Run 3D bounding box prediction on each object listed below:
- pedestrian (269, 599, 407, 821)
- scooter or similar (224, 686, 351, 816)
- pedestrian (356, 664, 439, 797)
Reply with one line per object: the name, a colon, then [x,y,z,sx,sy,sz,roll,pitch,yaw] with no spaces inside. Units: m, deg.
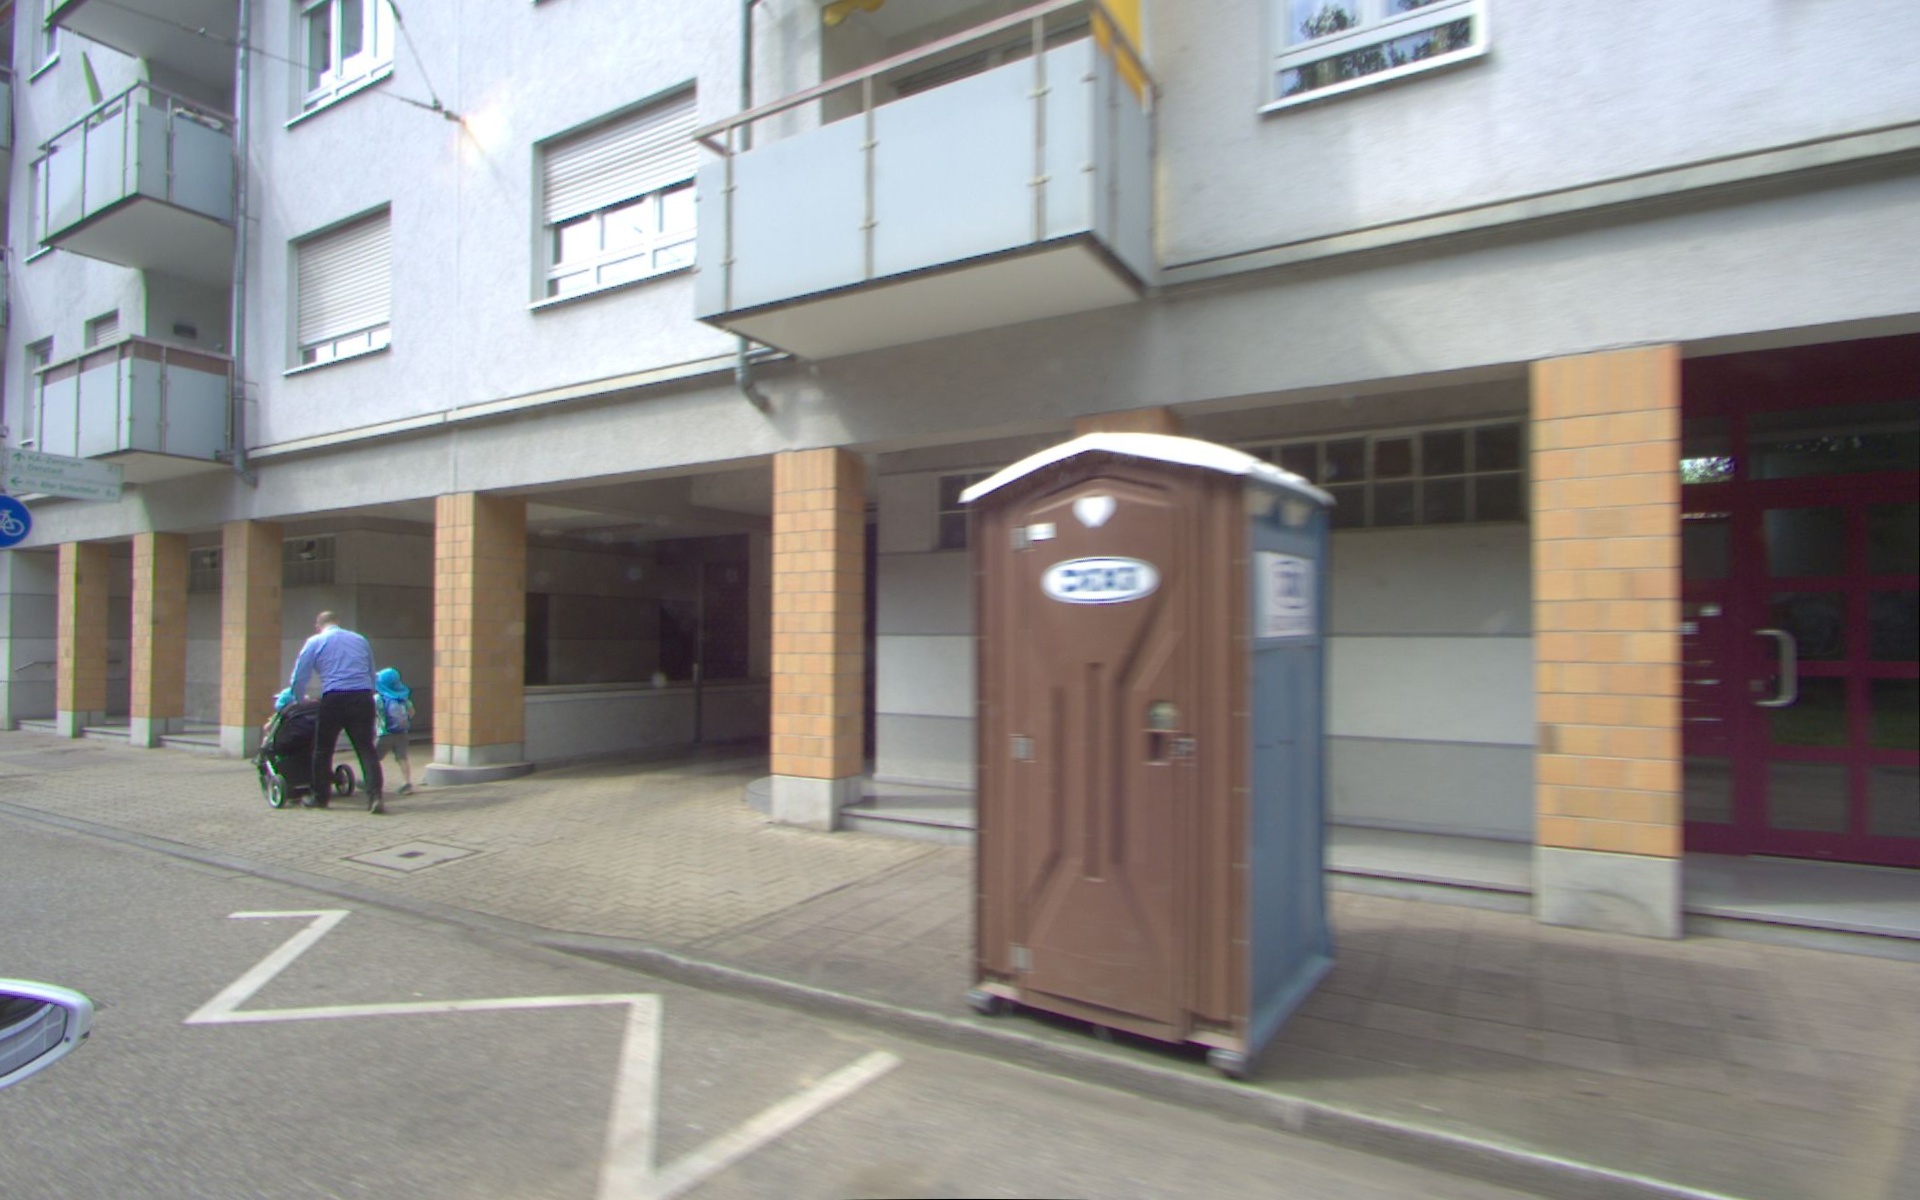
pedestrian: [-5.282,0.891,8.511,0.865,1.762,0.619,-1,2,32]
scooter or similar: [-5.983,1.313,8.913,0.893,1.016,0.591,-1,2,32]
pedestrian: [-5.193,1.184,9.245,0.487,1.150,0.455,-1,2,32]
